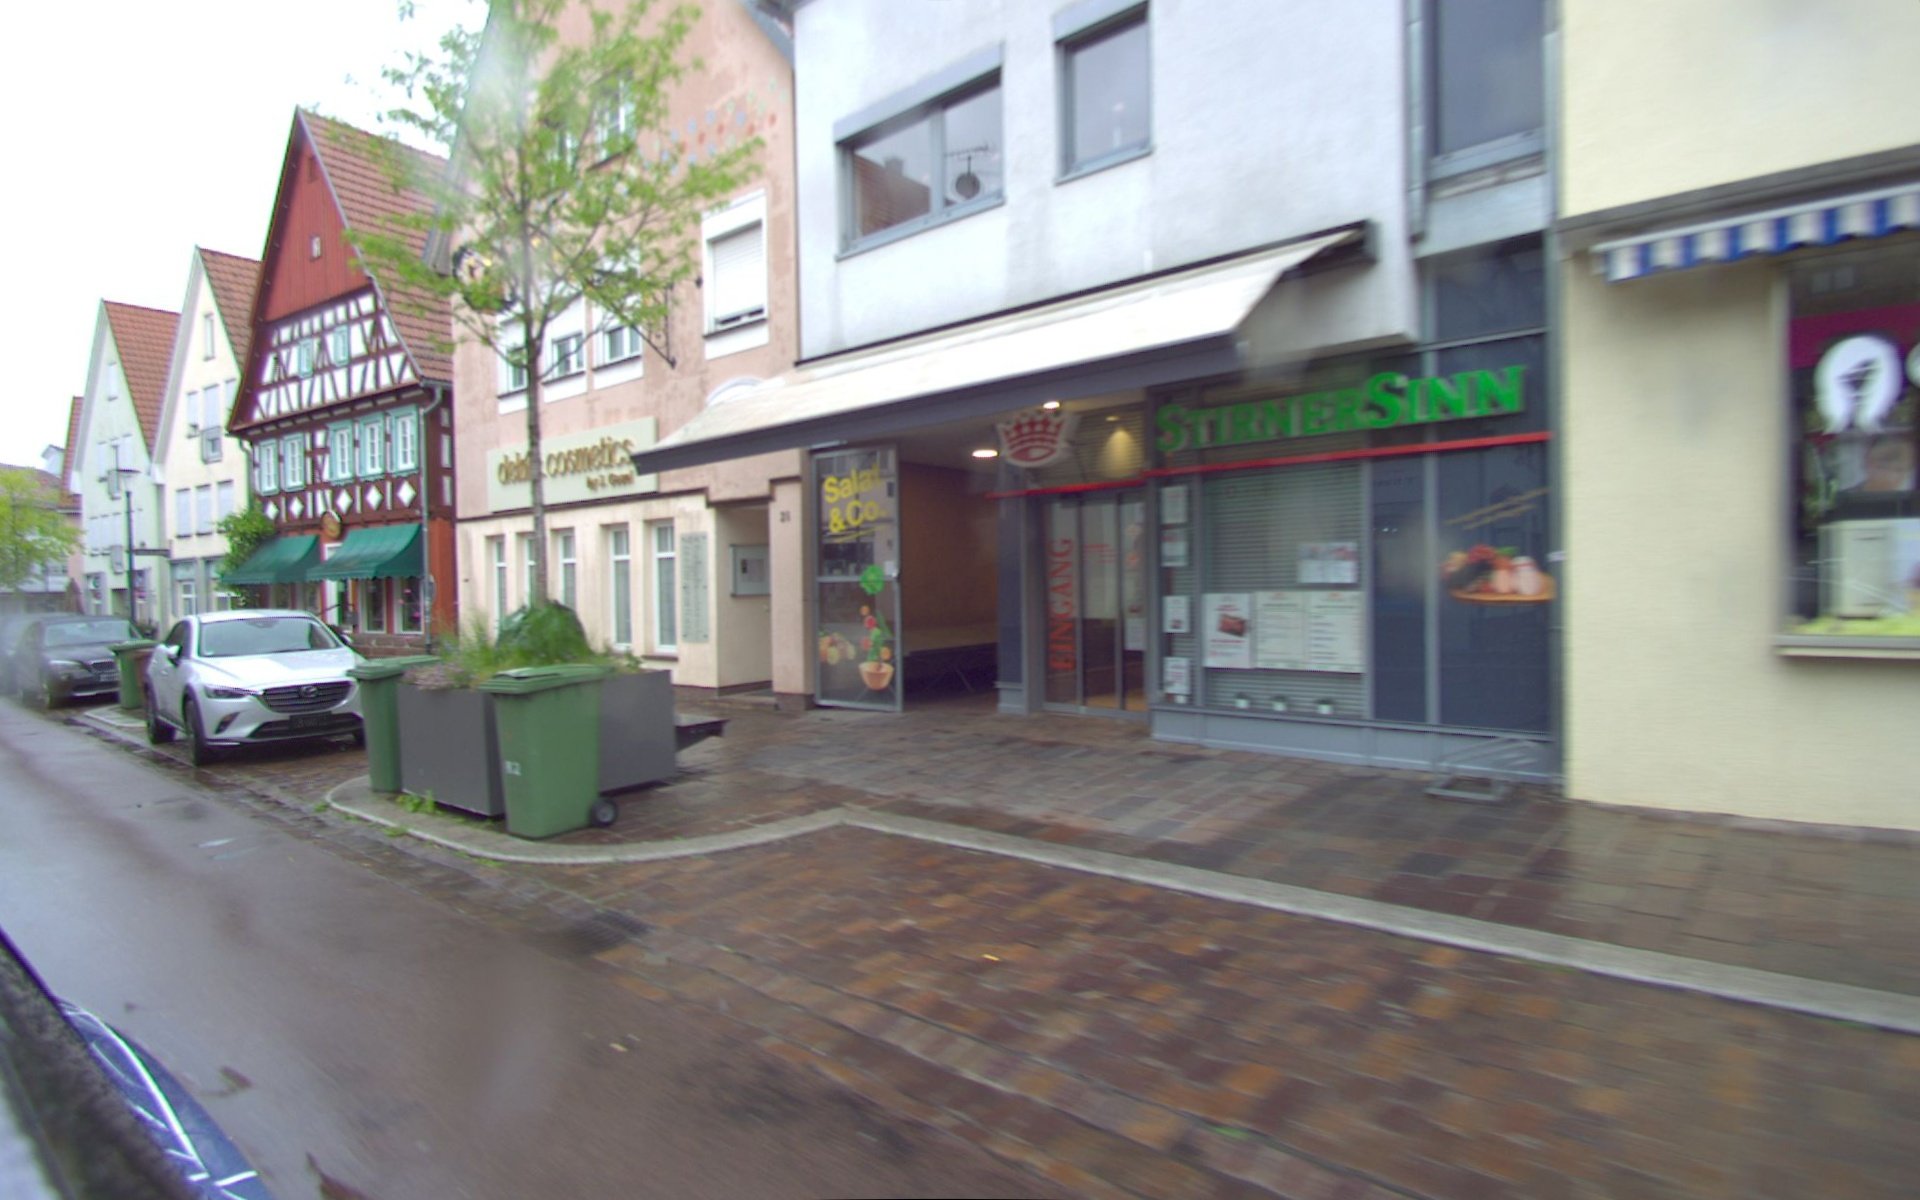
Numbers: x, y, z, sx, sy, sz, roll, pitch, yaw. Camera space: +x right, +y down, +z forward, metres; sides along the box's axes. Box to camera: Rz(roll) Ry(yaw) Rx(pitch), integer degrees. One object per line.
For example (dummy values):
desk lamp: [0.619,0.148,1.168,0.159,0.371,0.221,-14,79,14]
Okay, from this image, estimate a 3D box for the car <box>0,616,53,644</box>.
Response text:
car: [-59.702,1.895,64.019,1.763,1.479,3.961,-2,2,-14]

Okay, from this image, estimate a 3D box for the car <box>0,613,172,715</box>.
car: [-16.140,1.140,18.586,4.287,1.549,1.762,-3,1,41]

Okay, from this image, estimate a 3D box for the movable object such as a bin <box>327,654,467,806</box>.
movable object such as a bin: [-4.584,1.017,8.243,0.693,1.093,0.778,-3,1,44]

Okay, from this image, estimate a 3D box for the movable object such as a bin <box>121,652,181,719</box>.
movable object such as a bin: [-12.550,1.319,15.703,0.499,0.945,0.603,0,2,38]

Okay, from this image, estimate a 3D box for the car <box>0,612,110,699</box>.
car: [-20.523,1.164,22.553,4.642,1.678,1.805,-1,1,43]

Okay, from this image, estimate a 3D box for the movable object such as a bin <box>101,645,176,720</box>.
movable object such as a bin: [-13.063,1.293,16.093,0.675,1.090,0.762,0,2,37]

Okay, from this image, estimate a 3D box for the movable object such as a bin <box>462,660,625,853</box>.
movable object such as a bin: [-2.662,0.955,6.476,0.704,1.060,0.701,0,2,43]

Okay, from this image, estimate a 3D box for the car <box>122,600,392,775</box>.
car: [-8.114,0.892,11.525,4.121,1.549,1.673,-3,1,44]

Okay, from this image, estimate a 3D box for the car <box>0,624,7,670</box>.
car: [-34.421,1.692,35.012,4.329,1.536,1.841,-2,2,44]

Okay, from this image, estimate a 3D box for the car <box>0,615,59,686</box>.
car: [-25.966,1.321,27.534,4.644,1.678,1.804,0,3,44]
